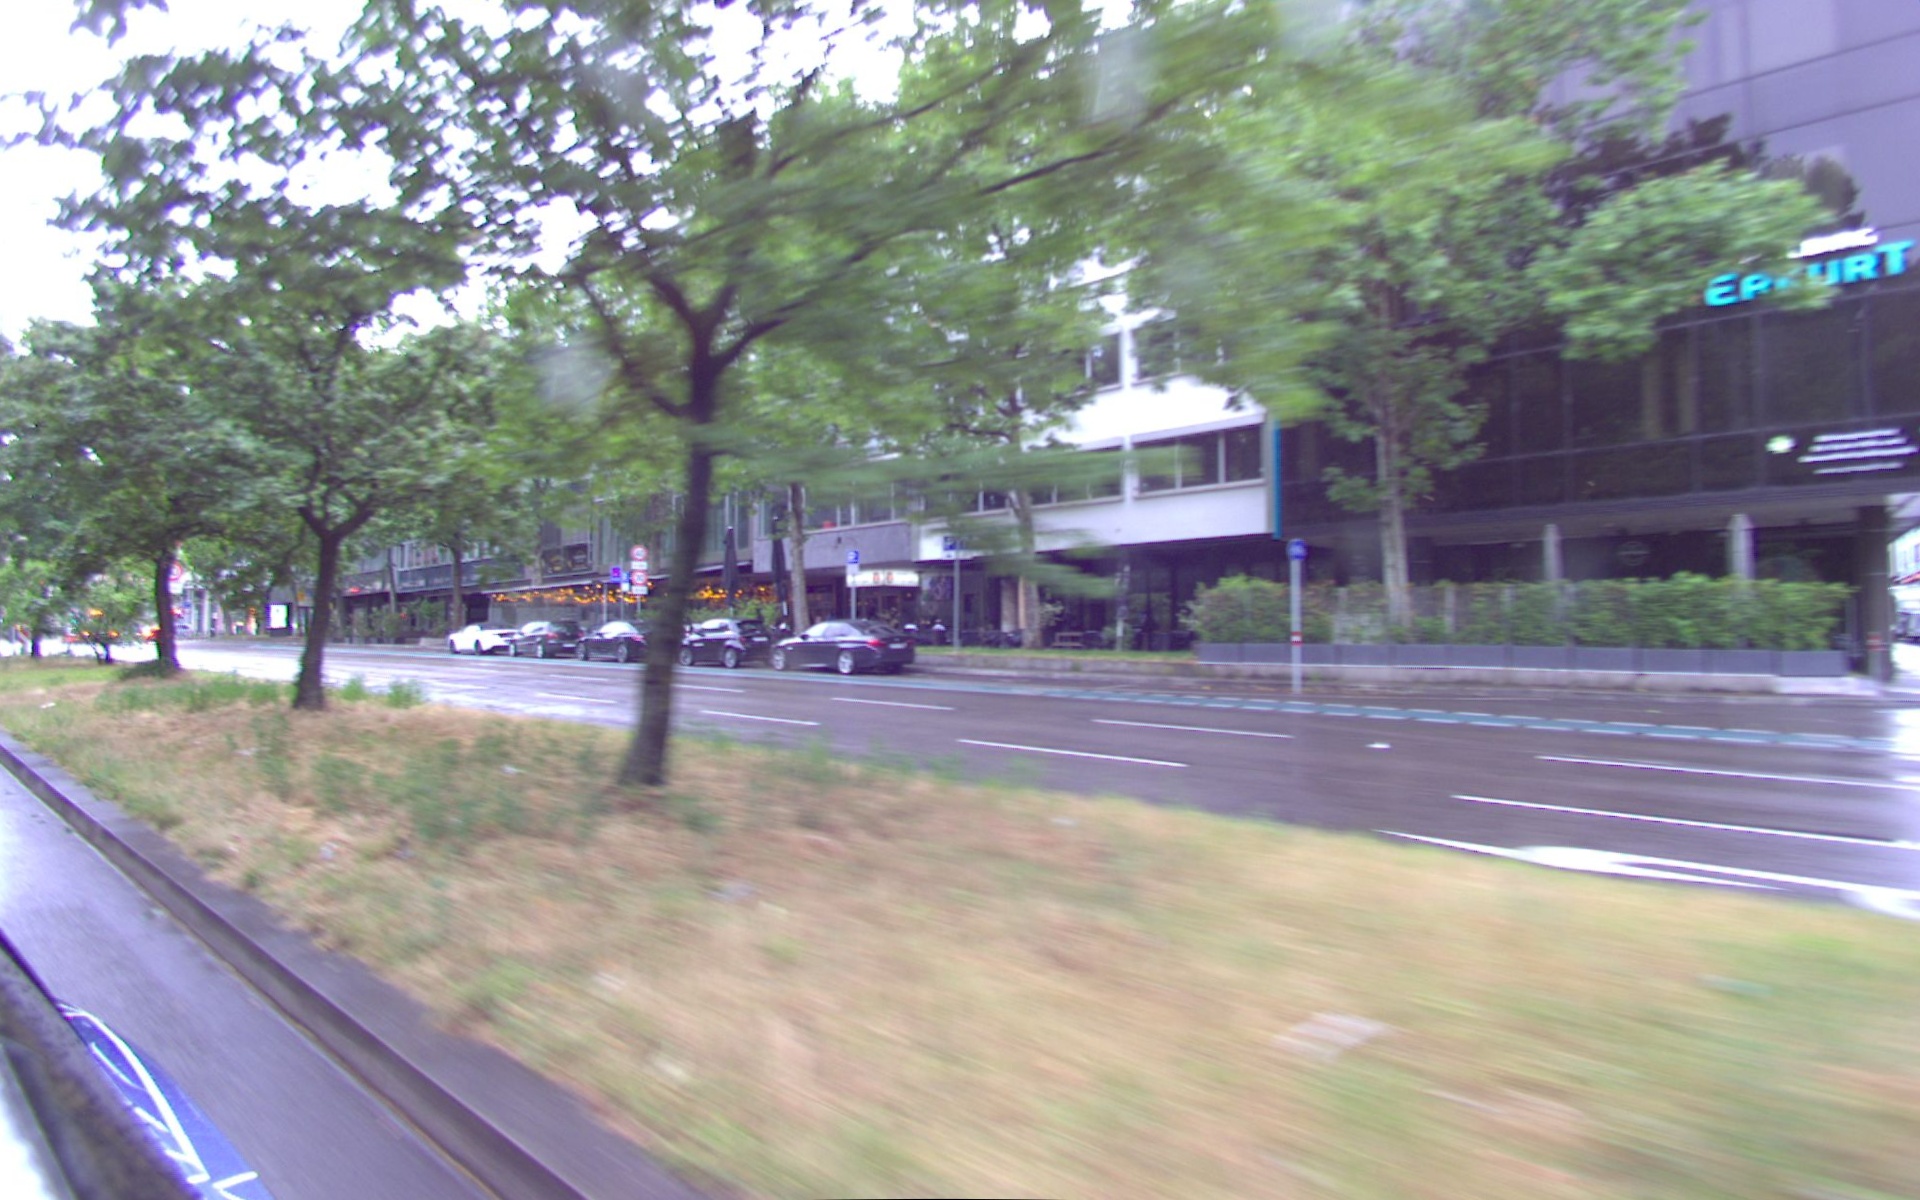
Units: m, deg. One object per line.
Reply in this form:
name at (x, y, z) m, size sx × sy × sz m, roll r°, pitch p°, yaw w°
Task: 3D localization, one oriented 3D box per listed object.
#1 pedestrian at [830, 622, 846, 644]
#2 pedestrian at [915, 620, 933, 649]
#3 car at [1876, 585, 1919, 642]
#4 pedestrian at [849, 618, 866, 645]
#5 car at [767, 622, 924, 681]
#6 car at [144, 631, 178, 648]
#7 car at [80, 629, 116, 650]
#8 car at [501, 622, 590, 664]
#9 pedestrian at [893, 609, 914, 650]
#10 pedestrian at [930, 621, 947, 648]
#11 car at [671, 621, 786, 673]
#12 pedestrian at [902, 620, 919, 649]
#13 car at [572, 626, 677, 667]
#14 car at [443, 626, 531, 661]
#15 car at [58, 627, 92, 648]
pedestrian at (-4.773, 1.293, 39.523) m, size 0.433 × 0.856 × 0.435 m, roll -1°, pitch 0°, yaw 39°
pedestrian at (-1.282, 1.238, 36.241) m, size 0.488 × 1.008 × 0.481 m, roll -1°, pitch 0°, yaw 26°
car at (42.105, 0.517, 44.380) m, size 2.247 × 2.341 × 6.679 m, roll -1°, pitch 0°, yaw 37°
pedestrian at (-3.897, 1.206, 38.557) m, size 0.423 × 1.024 × 0.459 m, roll -1°, pitch 0°, yaw 39°
car at (-3.226, 1.339, 27.811) m, size 4.539 × 1.396 × 1.850 m, roll -1°, pitch 0°, yaw 45°
car at (-69.868, 3.477, 88.491) m, size 3.737 × 1.335 × 1.742 m, roll -1°, pitch 0°, yaw 42°
car at (-73.809, 3.369, 86.634) m, size 3.726 × 1.586 × 1.758 m, roll -1°, pitch 0°, yaw 40°
car at (-16.203, 1.637, 39.511) m, size 3.788 × 1.464 × 1.727 m, roll -1°, pitch 0°, yaw 42°
pedestrian at (-2.283, 1.181, 40.877) m, size 0.623 × 1.660 × 0.599 m, roll -1°, pitch 0°, yaw 37°
pedestrian at (-0.778, 1.225, 36.055) m, size 0.451 × 0.970 × 0.454 m, roll -1°, pitch 0°, yaw 26°
car at (-7.216, 1.421, 31.460) m, size 3.399 × 1.433 × 1.851 m, roll -1°, pitch 0°, yaw 42°
pedestrian at (-1.782, 1.240, 36.579) m, size 0.461 × 1.000 × 0.455 m, roll -1°, pitch 0°, yaw 26°
car at (-11.753, 1.589, 35.317) m, size 4.319 × 1.249 × 1.625 m, roll -1°, pitch 0°, yaw 43°
car at (-20.301, 1.819, 43.330) m, size 4.391 × 1.336 × 1.856 m, roll -1°, pitch 0°, yaw 42°
car at (-80.423, 3.369, 91.968) m, size 3.954 × 1.799 × 1.913 m, roll -1°, pitch 0°, yaw 42°
